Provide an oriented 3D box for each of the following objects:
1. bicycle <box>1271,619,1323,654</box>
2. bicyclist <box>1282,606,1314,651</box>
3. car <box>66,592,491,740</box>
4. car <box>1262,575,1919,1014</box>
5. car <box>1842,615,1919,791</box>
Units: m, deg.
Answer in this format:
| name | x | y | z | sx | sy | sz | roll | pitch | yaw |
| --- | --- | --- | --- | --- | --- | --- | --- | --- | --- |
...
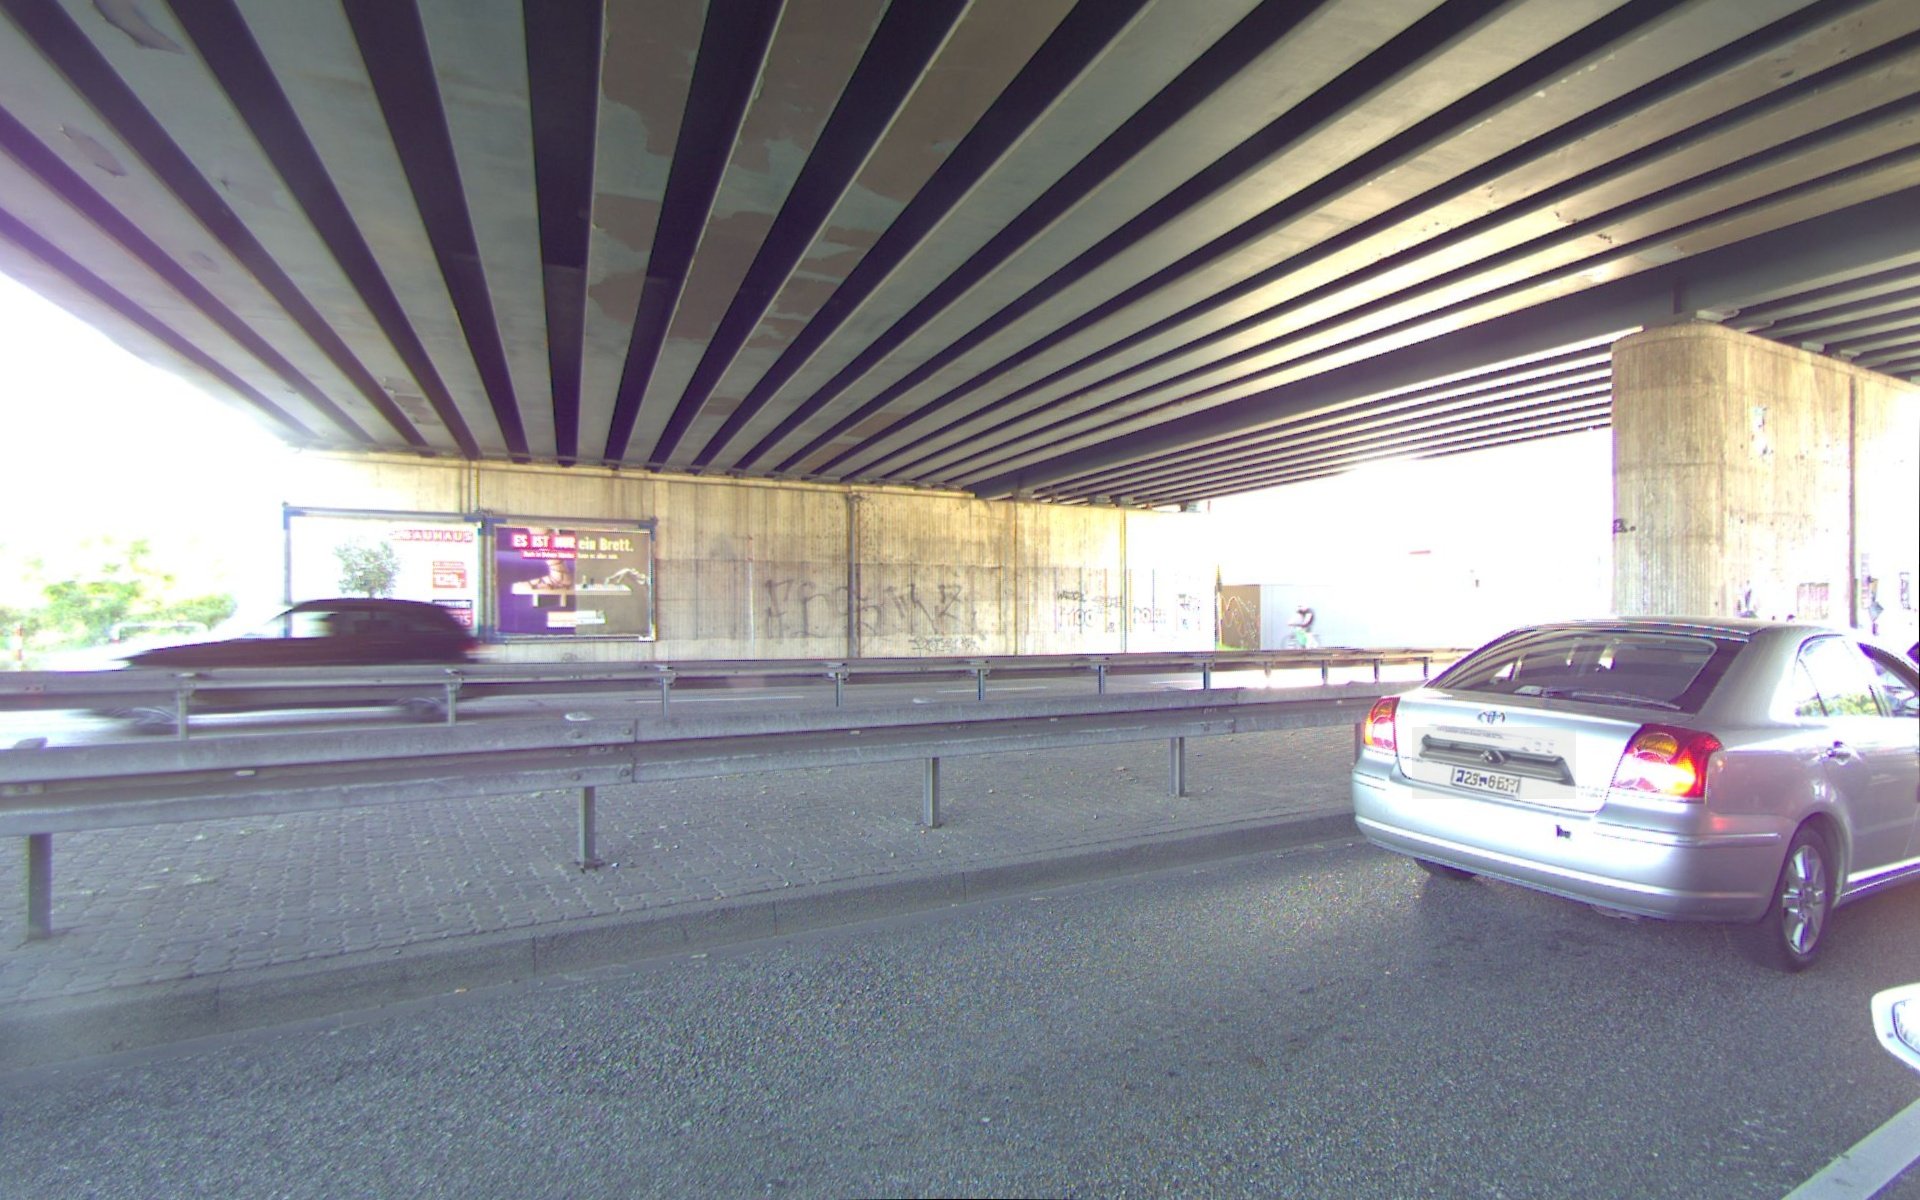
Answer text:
| name | x | y | z | sx | sy | sz | roll | pitch | yaw |
| --- | --- | --- | --- | --- | --- | --- | --- | --- | --- |
| bicycle | 11.768 | 1.291 | 35.068 | 1.856 | 1.181 | 0.631 | 2 | 0 | -30 |
| bicyclist | 11.792 | 0.990 | 35.072 | 0.827 | 1.545 | 0.624 | 2 | 0 | -30 |
| car | -8.658 | 0.795 | 13.172 | 4.320 | 1.638 | 1.840 | 1 | -2 | -34 |
| car | 3.747 | 0.682 | 5.222 | 4.347 | 1.474 | 1.688 | 1 | 0 | -31 |
| car | 9.607 | 0.882 | 8.884 | 3.770 | 1.429 | 1.683 | 1 | 0 | -32 |
